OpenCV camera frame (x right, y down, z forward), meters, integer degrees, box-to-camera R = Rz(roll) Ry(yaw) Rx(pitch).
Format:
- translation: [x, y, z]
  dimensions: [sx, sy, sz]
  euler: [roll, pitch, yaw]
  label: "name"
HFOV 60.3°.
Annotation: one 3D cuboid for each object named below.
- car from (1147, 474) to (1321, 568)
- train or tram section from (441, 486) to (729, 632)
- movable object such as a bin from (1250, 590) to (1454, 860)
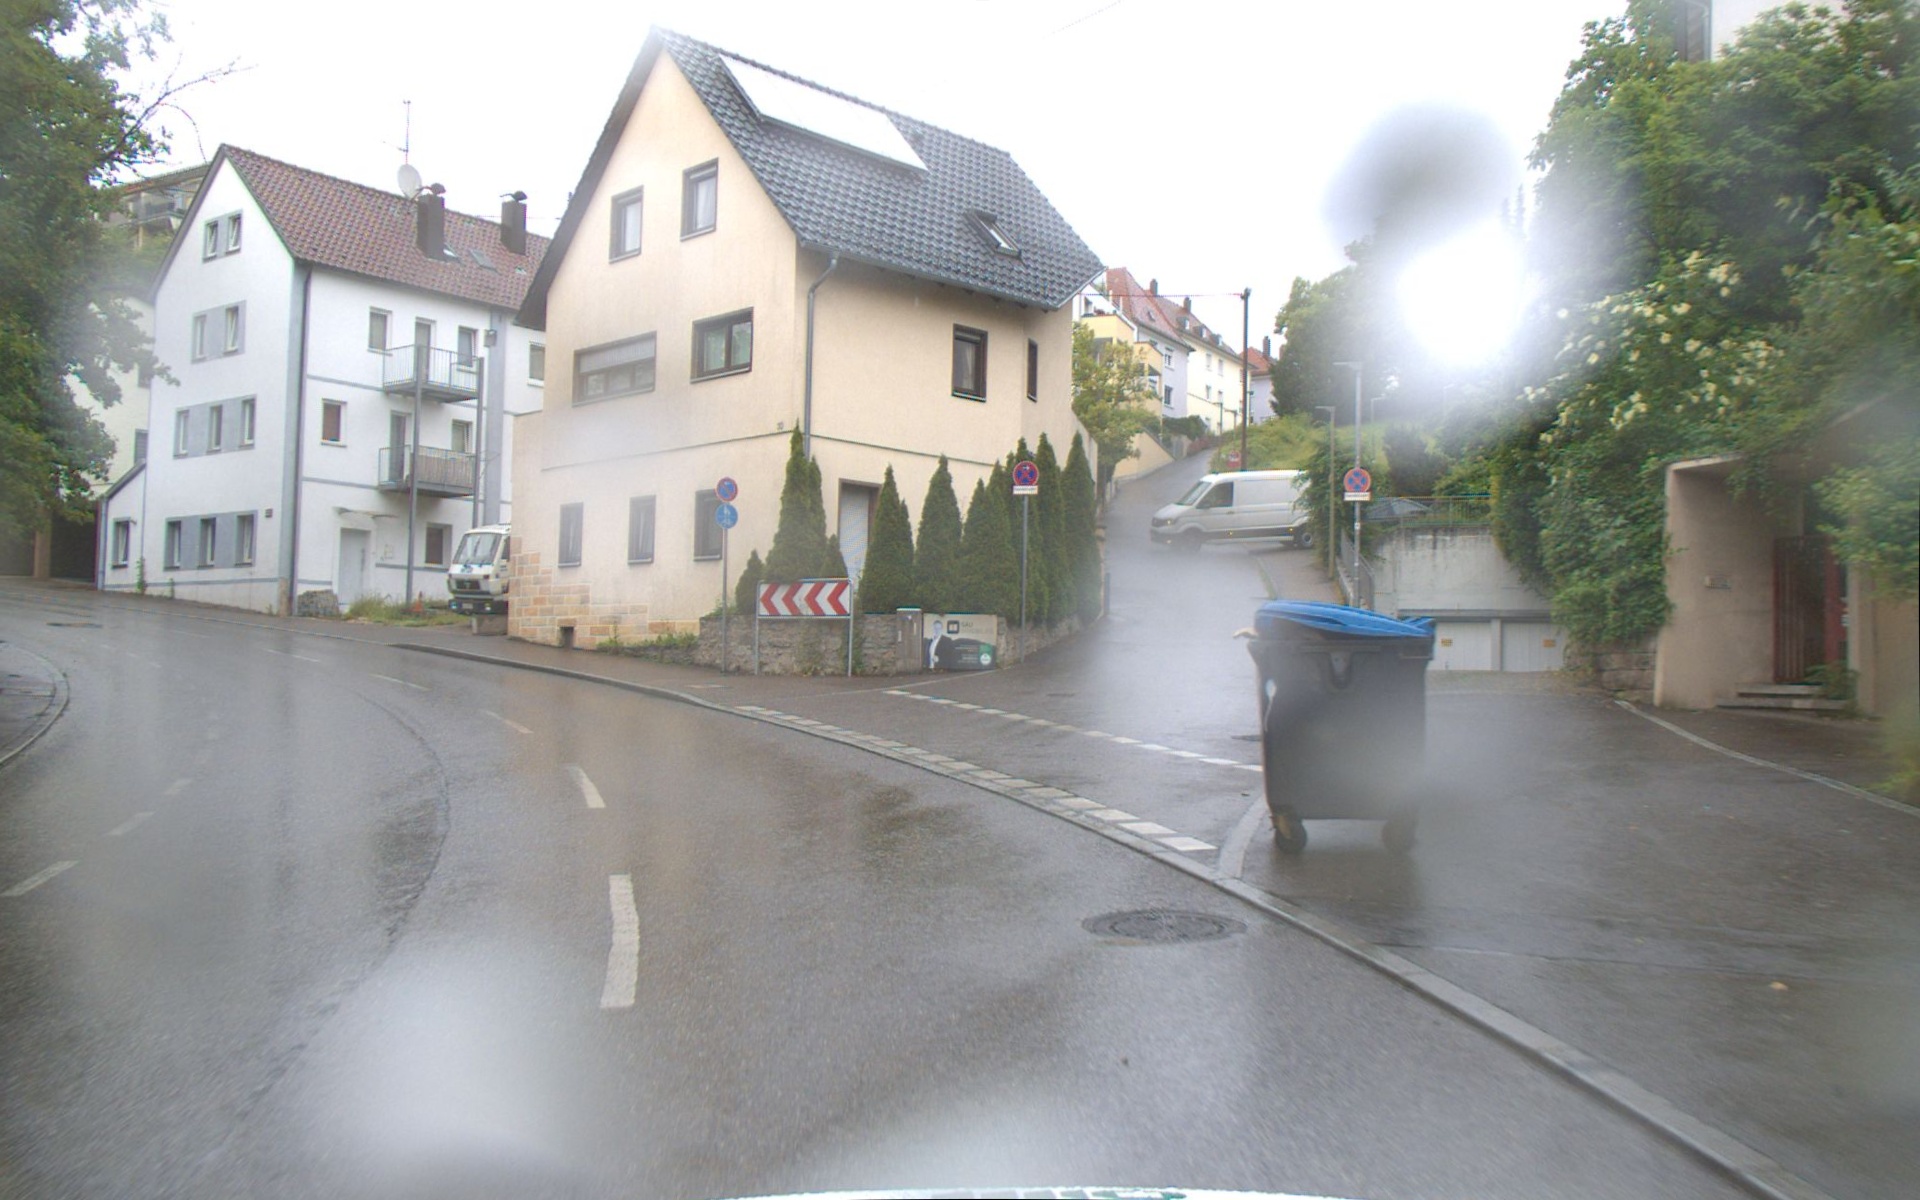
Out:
- translation: [8.333, -2.382, 50.458]
  dimensions: [4.847, 2.614, 1.902]
  euler: [-2, -1, -5]
  label: "car"
- translation: [-9.005, -0.912, 40.377]
  dimensions: [2.323, 3.259, 6.830]
  euler: [0, 0, 41]
  label: "train or tram section"
- translation: [2.297, 0.689, 9.898]
  dimensions: [1.058, 1.467, 1.459]
  euler: [1, 0, 9]
  label: "movable object such as a bin"
